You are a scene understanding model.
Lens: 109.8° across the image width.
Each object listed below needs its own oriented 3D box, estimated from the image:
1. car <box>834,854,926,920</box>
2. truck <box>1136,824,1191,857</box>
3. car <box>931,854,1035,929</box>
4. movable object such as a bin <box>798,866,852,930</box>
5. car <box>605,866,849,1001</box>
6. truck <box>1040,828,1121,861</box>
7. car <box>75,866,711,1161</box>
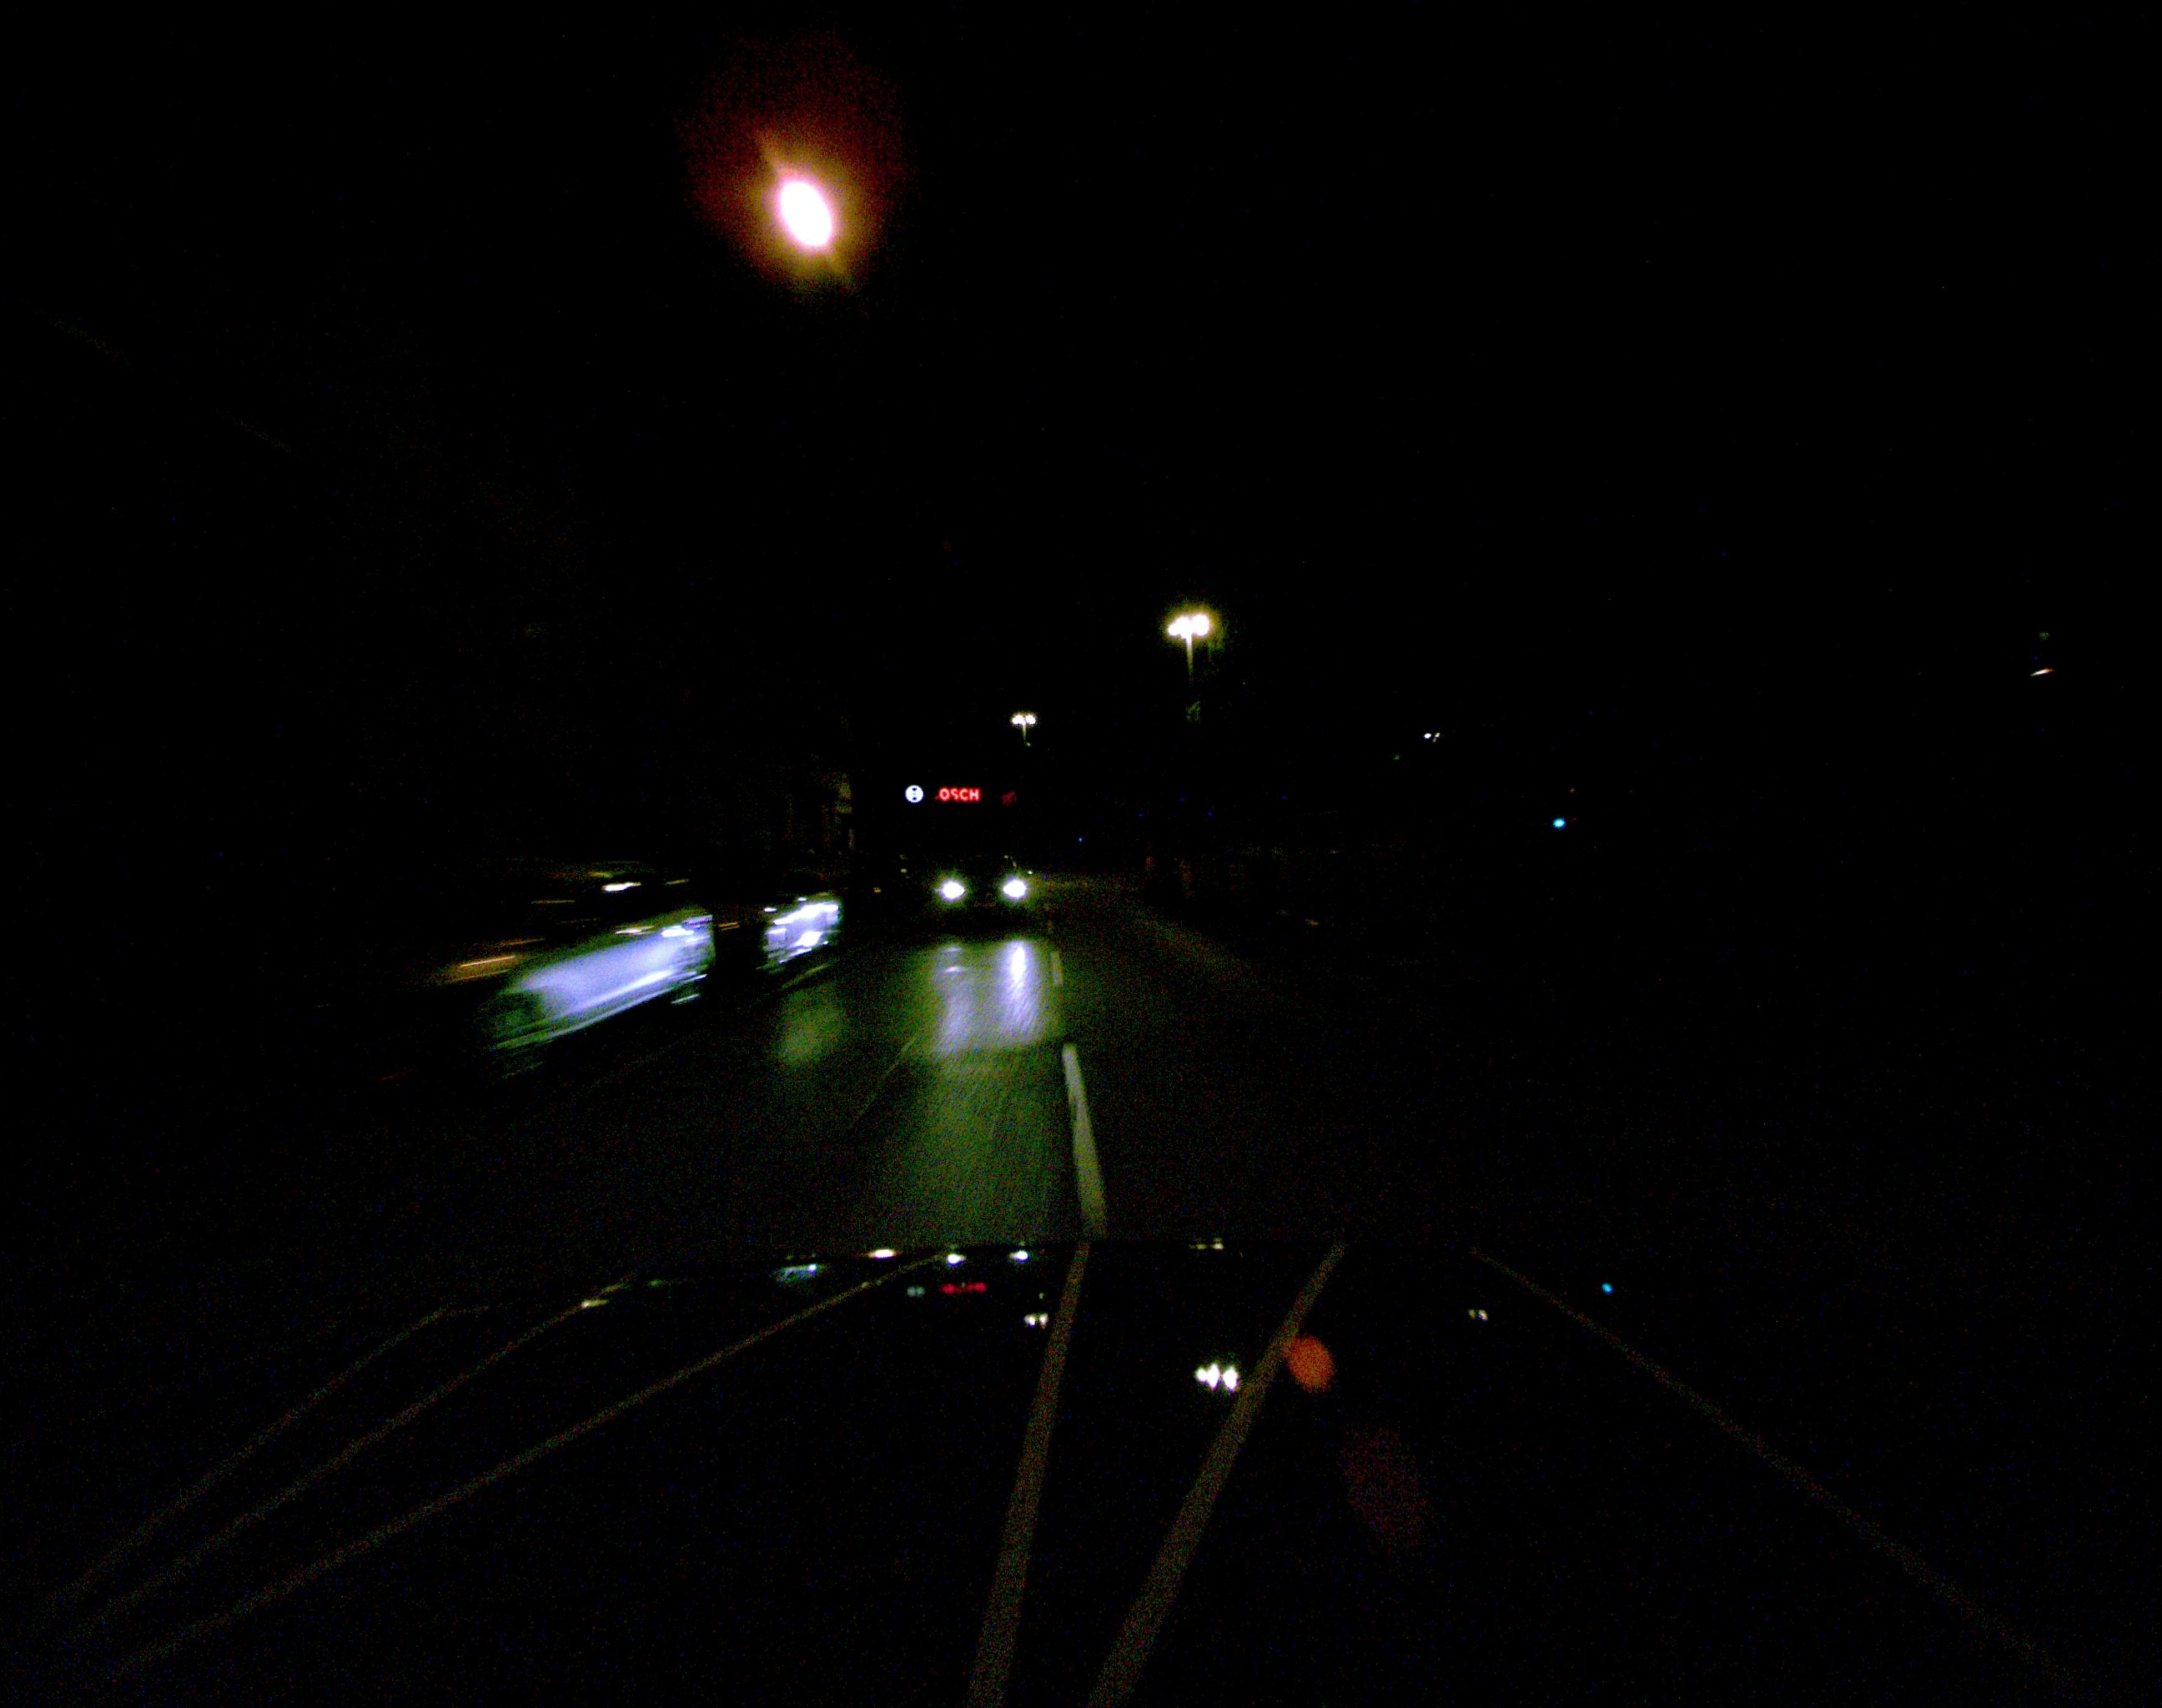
[{"bbox_3d":[-5.664,0.857,21.913,1.749,1.673,4.256,1,1,-4],"label":"car"},{"bbox_3d":[9.644,-1.579,89.060,6.197,3.673,2.403,-1,1,10],"label":"truck"},{"bbox_3d":[-2.277,0.825,18.715,1.998,1.607,4.000,0,0,0],"label":"car"},{"bbox_3d":[-6.029,1.025,17.981,0.940,1.424,1.338,1,1,-6],"label":"movable object such as a bin"},{"bbox_3d":[-5.040,1.013,11.671,1.749,1.500,4.831,1,1,-4],"label":"car"},{"bbox_3d":[-0.089,-1.101,90.649,9.342,3.701,2.002,-1,1,13],"label":"truck"},{"bbox_3d":[-4.948,0.954,6.470,1.749,1.557,4.208,1,1,-4],"label":"car"}]
